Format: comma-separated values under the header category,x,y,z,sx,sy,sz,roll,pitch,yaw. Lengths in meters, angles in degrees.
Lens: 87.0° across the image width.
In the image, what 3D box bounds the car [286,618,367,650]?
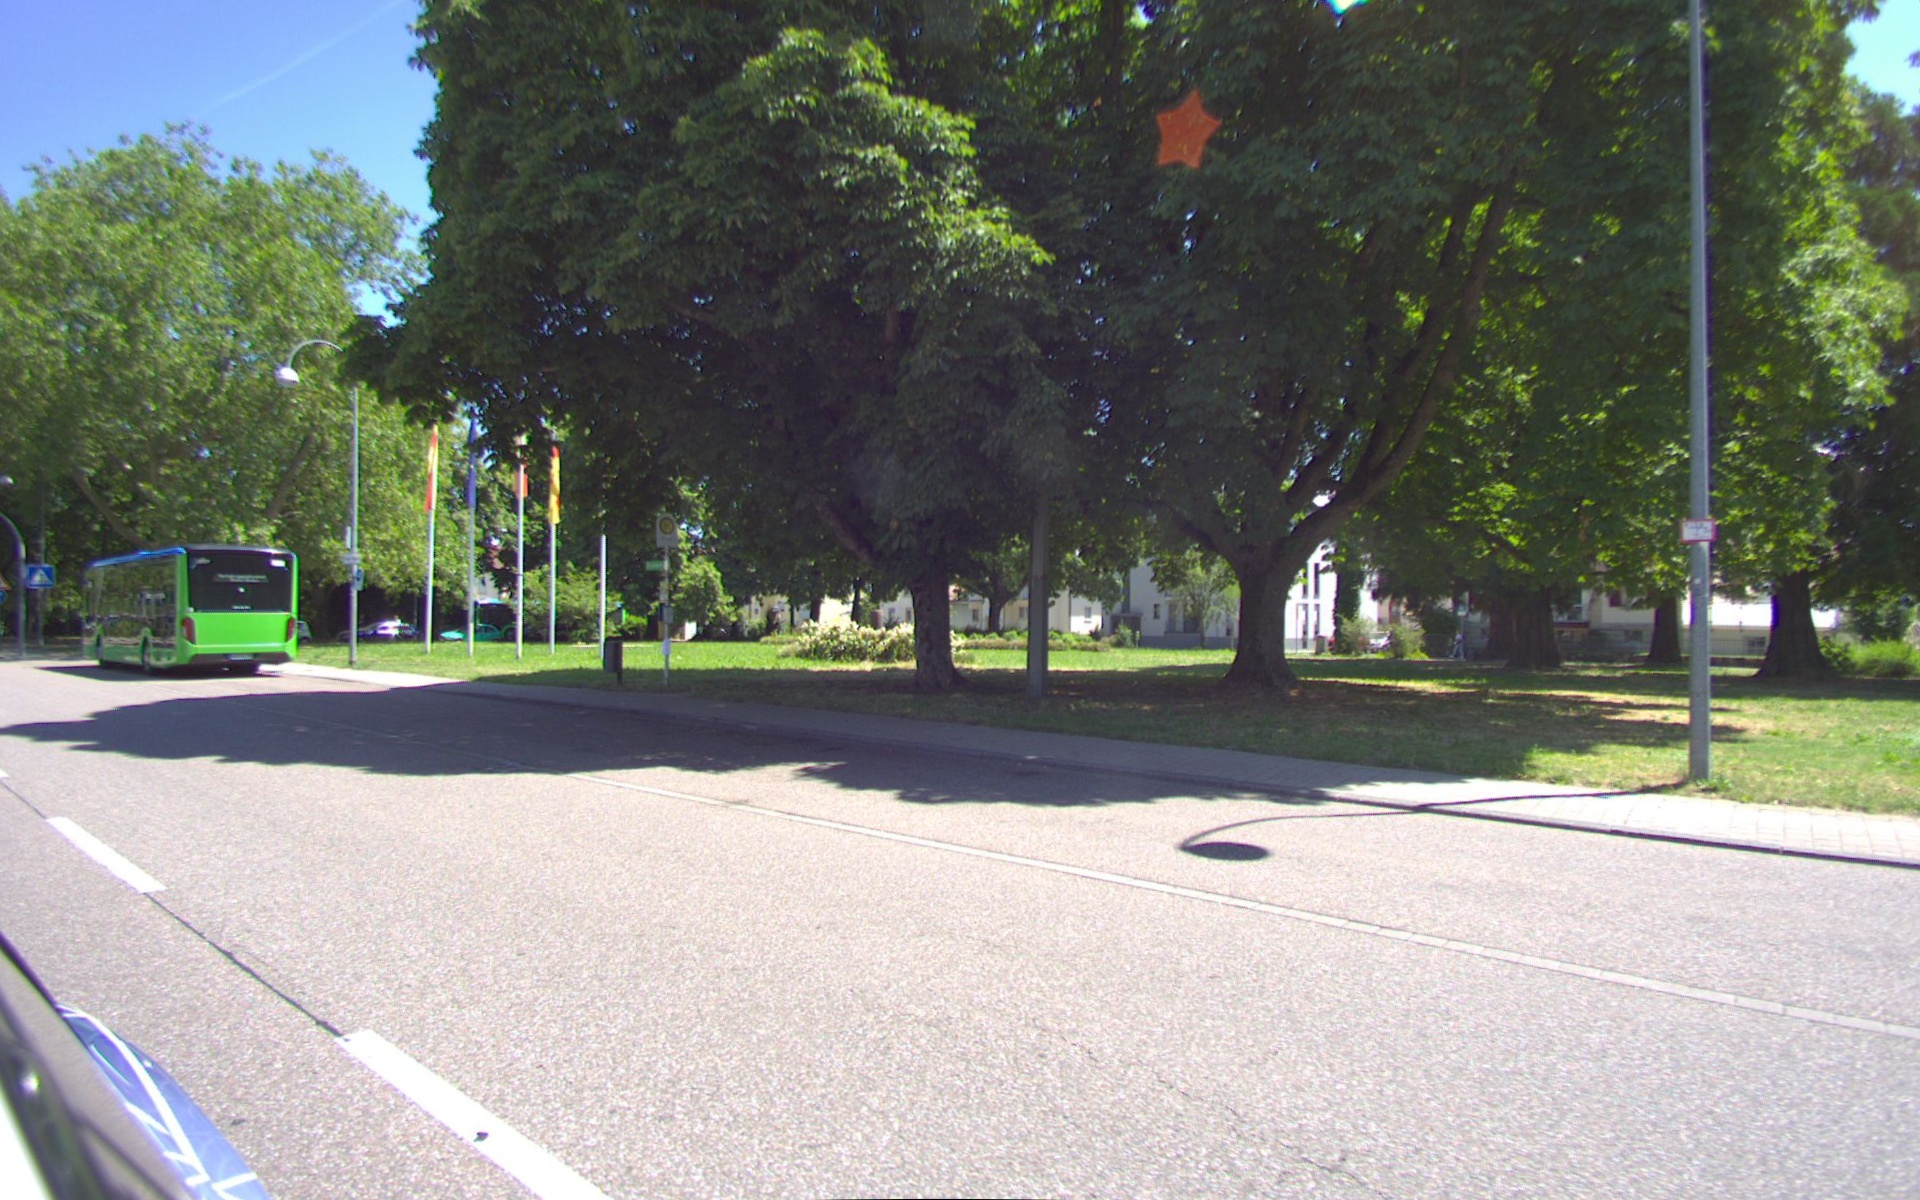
category,x,y,z,sx,sy,sz,roll,pitch,yaw
car,-40.642,2.163,65.011,3.933,2.029,2.005,1,-2,-13

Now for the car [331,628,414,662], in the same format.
category,x,y,z,sx,sy,sz,roll,pitch,yaw
car,-35.800,2.717,61.705,2.000,2.029,3.943,-1,-2,43

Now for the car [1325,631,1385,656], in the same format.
category,x,y,z,sx,sy,sz,roll,pitch,yaw
car,26.092,2.842,66.870,3.936,1.630,2.004,1,-2,-39

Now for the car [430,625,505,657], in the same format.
category,x,y,z,sx,sy,sz,roll,pitch,yaw
car,-32.211,2.668,66.282,1.999,2.029,3.946,-1,-2,40

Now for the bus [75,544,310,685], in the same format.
category,x,y,z,sx,sy,sz,roll,pitch,yaw
bus,-22.069,0.450,28.694,11.849,3.328,2.778,-1,-2,40

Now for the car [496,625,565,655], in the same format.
category,x,y,z,sx,sy,sz,roll,pitch,yaw
car,-29.526,2.731,69.650,1.999,2.029,3.946,-1,-2,40

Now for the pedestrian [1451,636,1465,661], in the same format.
category,x,y,z,sx,sy,sz,roll,pitch,yaw
pedestrian,27.358,2.658,55.575,0.591,1.401,0.506,-1,-2,39

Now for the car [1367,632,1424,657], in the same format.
category,x,y,z,sx,sy,sz,roll,pitch,yaw
car,29.959,3.026,69.618,3.936,1.630,2.004,1,-2,-39
